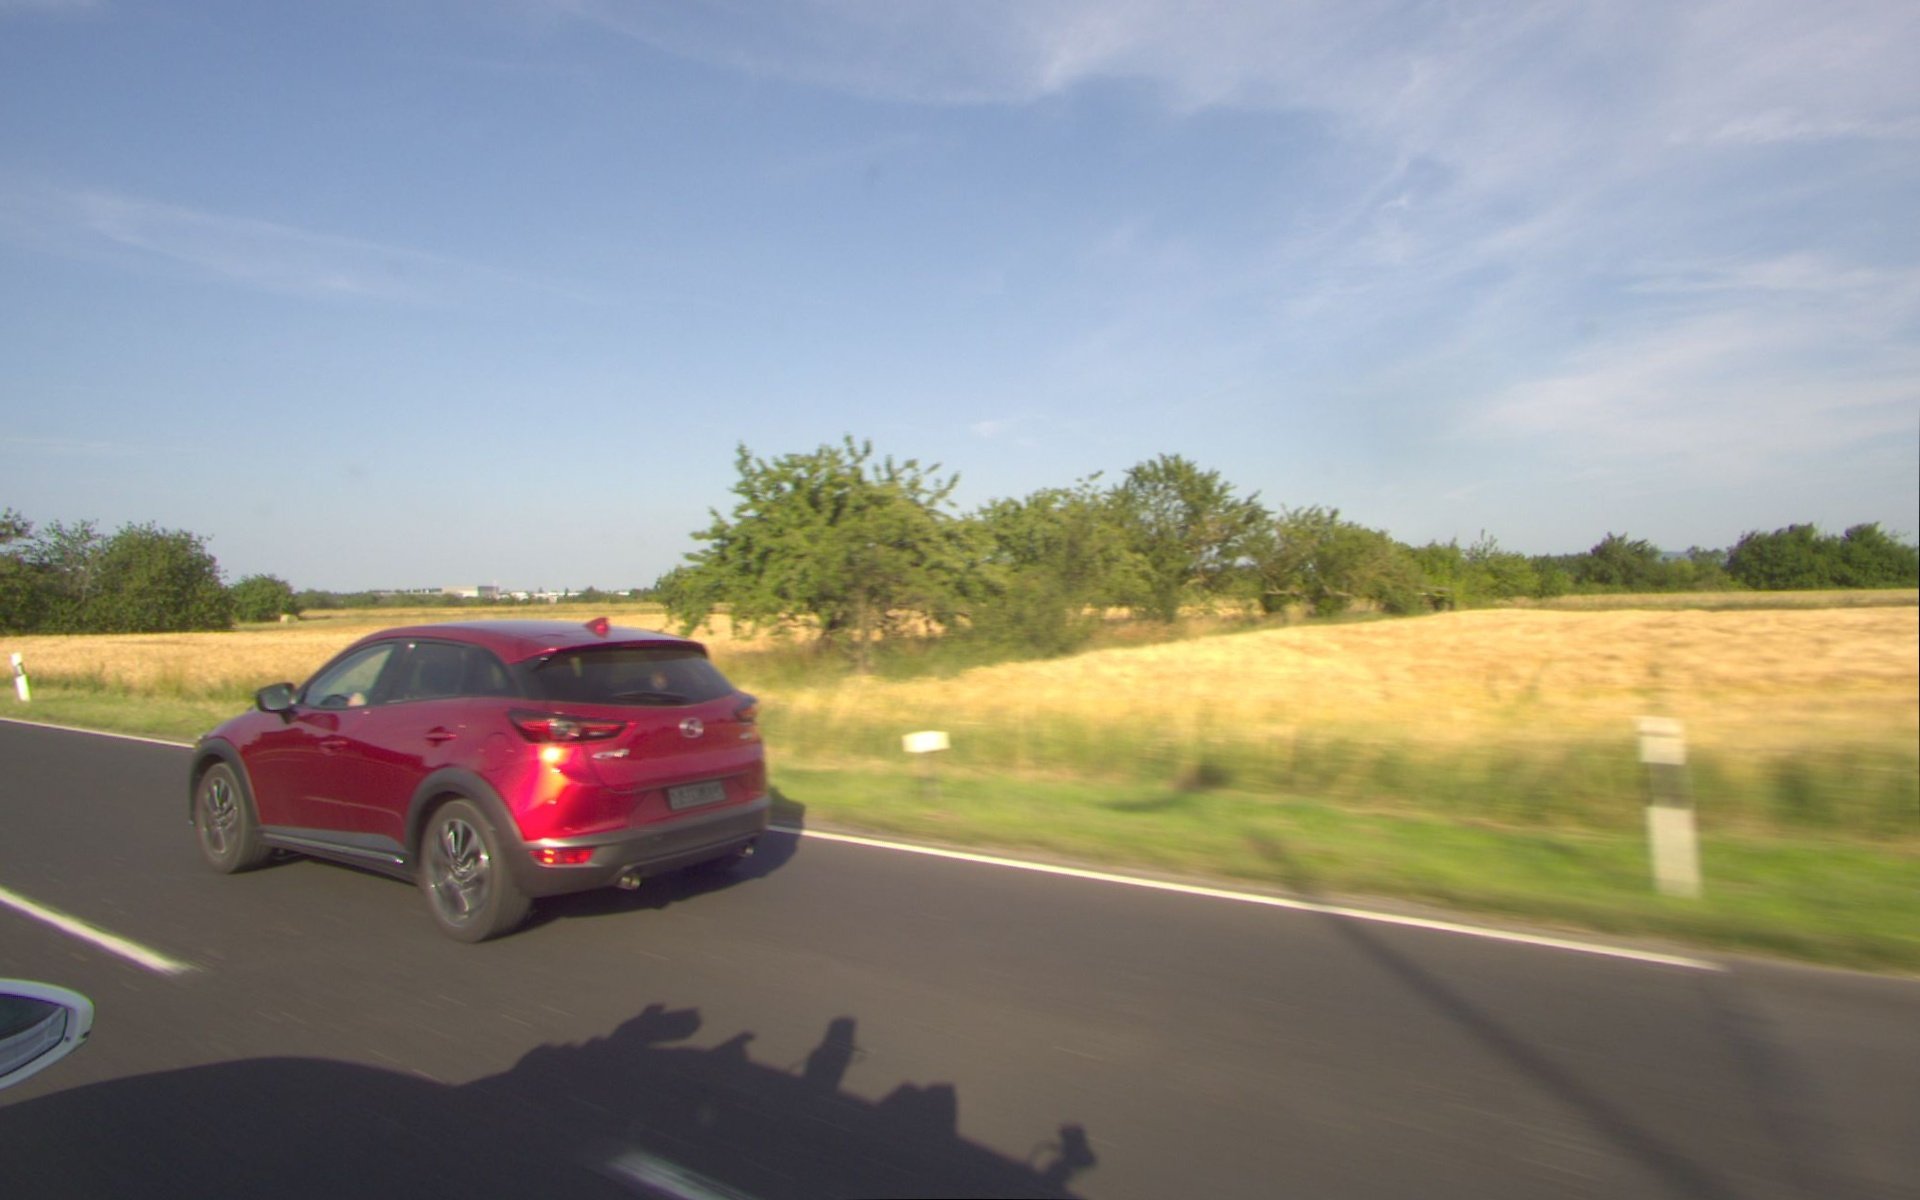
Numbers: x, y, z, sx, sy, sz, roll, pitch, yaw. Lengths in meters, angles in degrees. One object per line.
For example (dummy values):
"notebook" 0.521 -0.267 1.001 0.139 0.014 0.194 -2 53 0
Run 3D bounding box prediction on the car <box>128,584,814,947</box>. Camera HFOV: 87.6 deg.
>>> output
"car" -3.150 0.774 6.131 4.437 1.525 1.701 -2 -2 32
